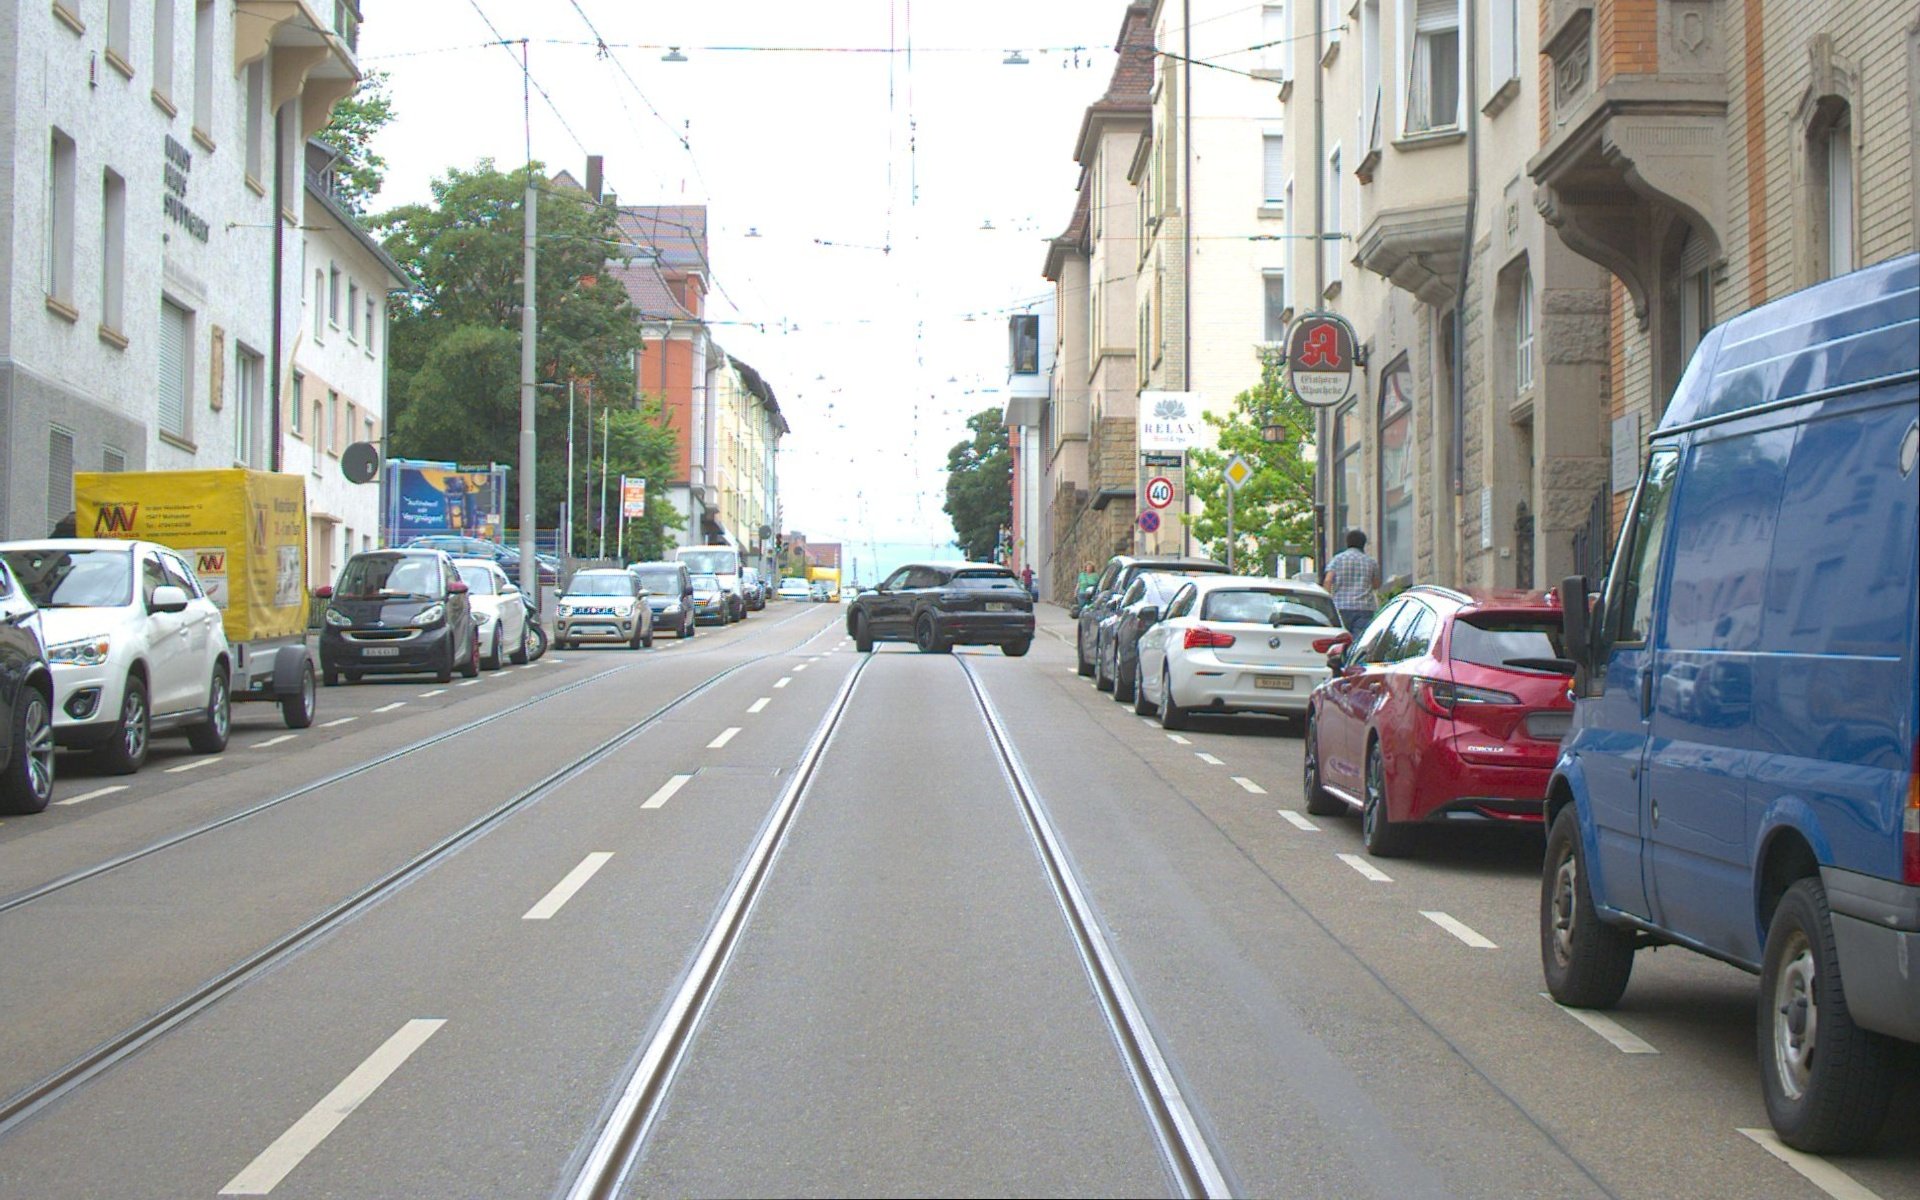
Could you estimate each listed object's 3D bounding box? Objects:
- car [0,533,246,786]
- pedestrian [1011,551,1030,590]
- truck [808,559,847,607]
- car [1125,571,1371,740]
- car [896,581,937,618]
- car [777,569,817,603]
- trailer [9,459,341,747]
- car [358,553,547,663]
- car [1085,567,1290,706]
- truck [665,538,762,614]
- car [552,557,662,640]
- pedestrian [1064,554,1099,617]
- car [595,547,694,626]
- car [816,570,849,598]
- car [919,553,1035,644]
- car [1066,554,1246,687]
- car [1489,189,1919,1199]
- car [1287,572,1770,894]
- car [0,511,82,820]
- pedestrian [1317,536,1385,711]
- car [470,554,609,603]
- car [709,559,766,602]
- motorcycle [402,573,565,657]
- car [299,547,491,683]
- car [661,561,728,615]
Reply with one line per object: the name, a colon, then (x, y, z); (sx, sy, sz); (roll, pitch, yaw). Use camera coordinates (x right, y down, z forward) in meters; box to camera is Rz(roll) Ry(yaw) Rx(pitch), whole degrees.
car: (-6.306, 0.351, 24.055); (1.697, 1.588, 4.268); (-2, 1, 0)
pedestrian: (2.638, -1.282, 149.484); (0.791, 1.661, 0.798); (1, 0, 2)
truck: (-8.655, -1.125, 226.053); (2.302, 3.026, 9.034); (1, 0, -1)
car: (2.629, 0.470, 32.294); (1.750, 1.386, 4.308); (3, 1, -2)
car: (-1.857, -0.028, 146.339); (1.672, 1.508, 3.798); (1, 1, -2)
car: (-8.142, -0.712, 172.043); (1.855, 1.601, 4.297); (1, 1, -1)
trailer: (-6.352, -0.019, 28.248); (1.748, 2.148, 4.071); (-2, 1, 0)
car: (-6.577, 0.078, 44.971); (1.780, 1.353, 4.291); (1, 1, 1)
car: (2.499, 0.364, 38.798); (1.779, 1.386, 4.692); (3, 1, -2)
truck: (-7.390, -0.747, 104.034); (2.280, 2.180, 8.025); (1, 1, 0)
car: (-6.912, -0.055, 67.590); (1.697, 1.551, 3.850); (1, 1, 1)
pedestrian: (3.270, -0.389, 92.731); (0.870, 1.680, 0.663); (-1, 0, -2)
car: (-7.200, -0.328, 78.802); (1.744, 1.730, 4.519); (-1, 1, 1)
car: (-7.600, -0.946, 204.731); (1.855, 1.601, 4.297); (1, 1, -1)
car: (0.292, -0.052, 62.173); (1.993, 1.558, 4.290); (1, 1, 0)
car: (2.442, 0.217, 43.854); (1.735, 1.532, 4.575); (3, 1, -3)
car: (3.042, 0.249, 10.406); (1.993, 2.368, 5.056); (1, 0, -1)
car: (2.987, 0.630, 19.032); (1.779, 1.470, 4.590); (3, 1, -1)
car: (-6.099, 0.392, 17.714); (1.873, 1.658, 4.892); (-2, 1, 0)
pedestrian: (4.067, 0.244, 35.823); (0.599, 1.797, 0.632); (1, 0, -1)
car: (-12.359, -0.640, 101.233); (3.876, 1.352, 1.688); (1, 1, -1)
car: (-7.678, -0.698, 118.926); (1.712, 1.441, 4.290); (1, 1, 0)
motorcycle: (-6.656, 0.208, 48.078); (2.110, 1.130, 0.766); (-1, 1, 13)
car: (-6.503, 0.151, 39.801); (1.697, 1.463, 3.023); (-2, 1, 0)
car: (-7.473, -0.357, 97.035); (1.697, 1.428, 4.482); (-1, 1, -2)
